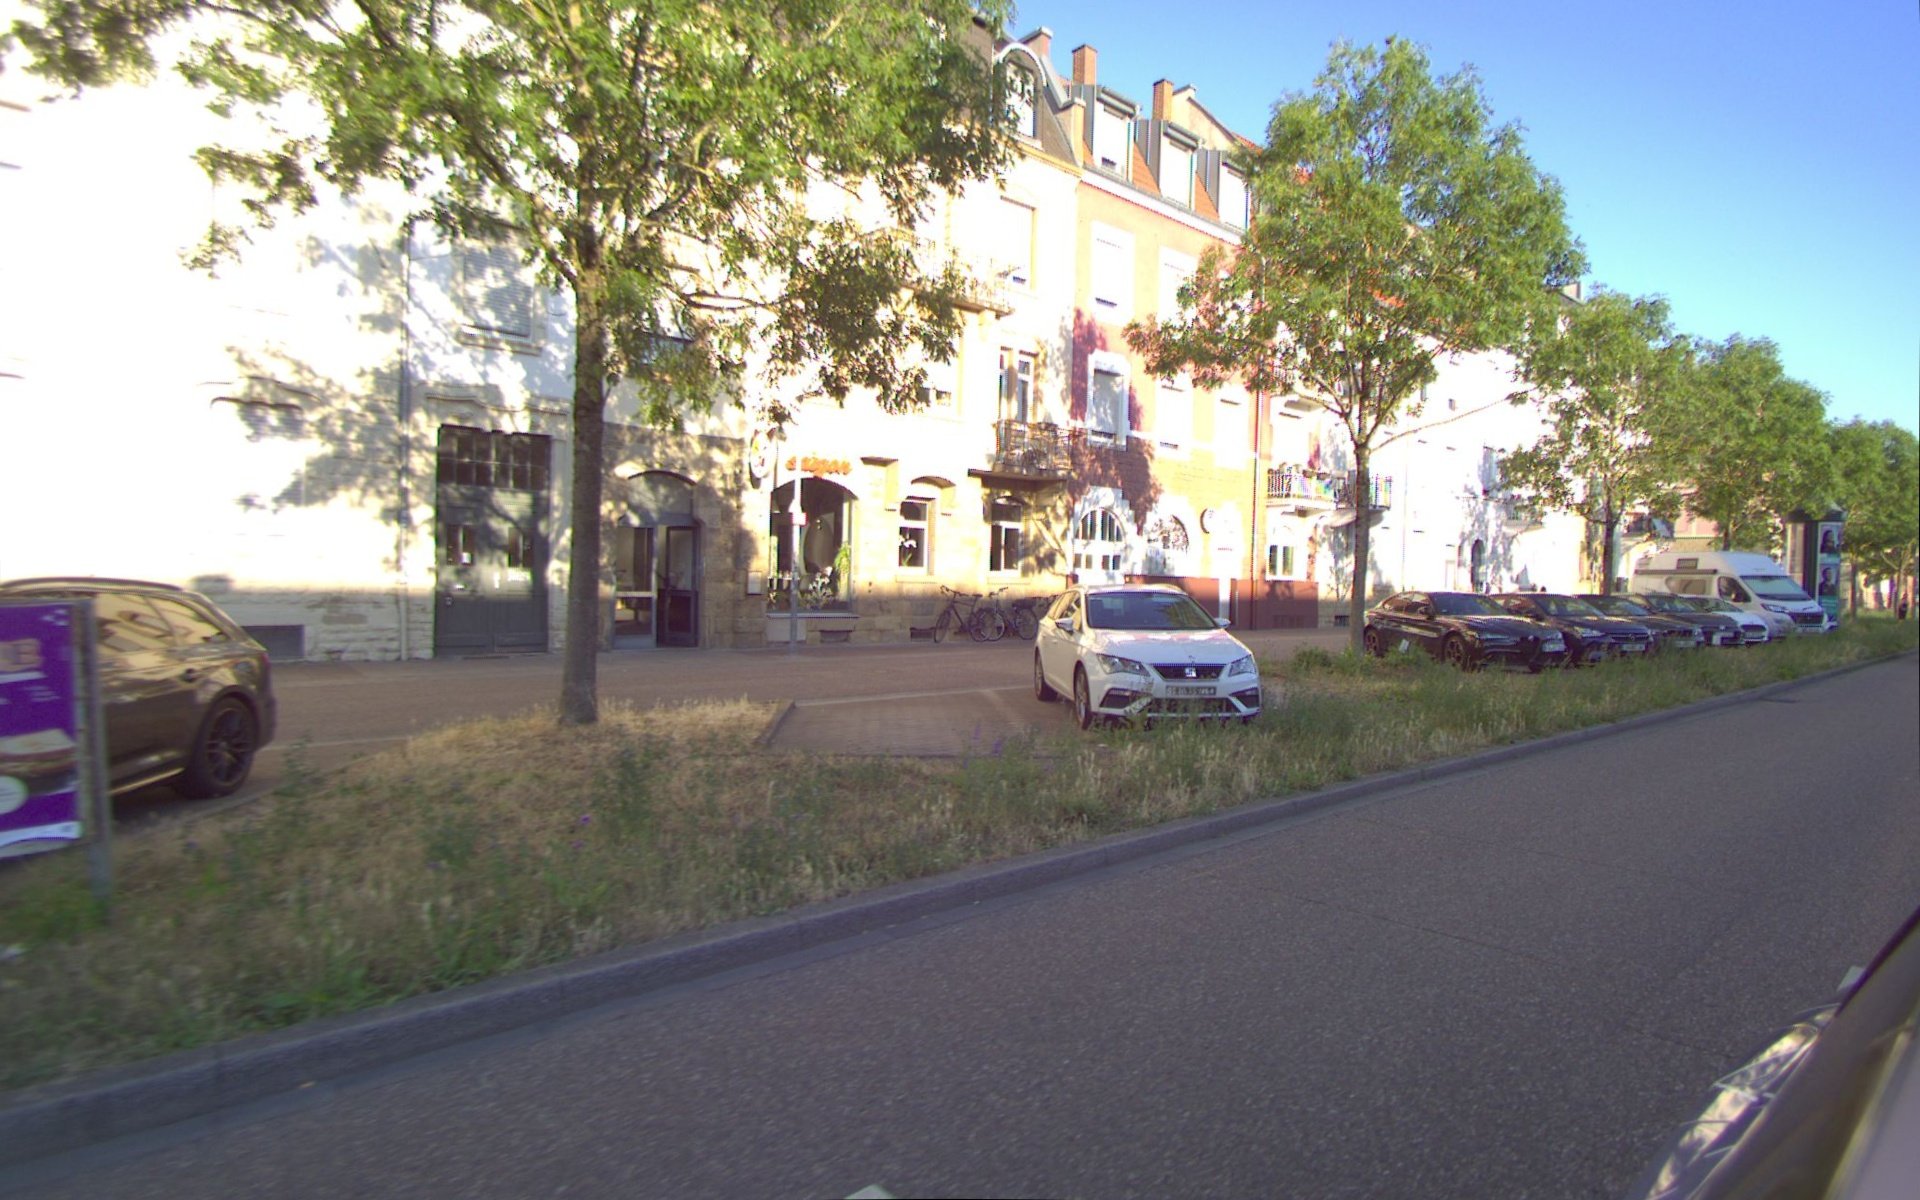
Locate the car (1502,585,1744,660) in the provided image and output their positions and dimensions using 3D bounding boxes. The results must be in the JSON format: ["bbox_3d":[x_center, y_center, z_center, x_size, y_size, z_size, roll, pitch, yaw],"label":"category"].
[{"bbox_3d":[14.141,0.418,21.958,1.883,1.441,4.443,1,1,-9],"label":"car"}]

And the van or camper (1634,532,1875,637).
[{"bbox_3d":[23.671,-0.509,30.549,2.159,2.847,5.662,1,2,-9],"label":"van or camper"}]

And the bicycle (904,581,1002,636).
[{"bbox_3d":[-0.117,0.171,21.461,2.189,1.092,0.589,0,3,-41],"label":"bicycle"}]

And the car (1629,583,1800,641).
[{"bbox_3d":[21.175,0.289,28.627,1.761,1.420,3.926,1,2,-2],"label":"car"}]

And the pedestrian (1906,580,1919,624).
[{"bbox_3d":[44.524,0.076,47.166,0.588,2.039,0.513,0,1,-41],"label":"pedestrian"}]

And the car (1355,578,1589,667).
[{"bbox_3d":[9.345,0.337,18.969,1.848,1.434,4.440,1,1,-4],"label":"car"}]

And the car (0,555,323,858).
[{"bbox_3d":[-5.361,0.452,5.150,1.857,1.365,4.591,1,2,-8],"label":"car"}]

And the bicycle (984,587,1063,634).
[{"bbox_3d":[1.450,0.218,22.849,1.894,1.003,0.580,0,2,-41],"label":"bicycle"}]

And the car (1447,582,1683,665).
[{"bbox_3d":[11.818,0.377,20.120,1.691,1.455,4.061,0,1,-12],"label":"car"}]

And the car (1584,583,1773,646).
[{"bbox_3d":[18.868,0.321,26.866,1.760,1.420,4.280,1,2,-3],"label":"car"}]

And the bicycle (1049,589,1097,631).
[{"bbox_3d":[2.700,0.233,24.178,1.197,0.973,0.419,0,2,-41],"label":"bicycle"}]

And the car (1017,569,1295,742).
[{"bbox_3d":[1.903,0.437,11.423,1.810,1.528,4.652,1,2,-5],"label":"car"}]
